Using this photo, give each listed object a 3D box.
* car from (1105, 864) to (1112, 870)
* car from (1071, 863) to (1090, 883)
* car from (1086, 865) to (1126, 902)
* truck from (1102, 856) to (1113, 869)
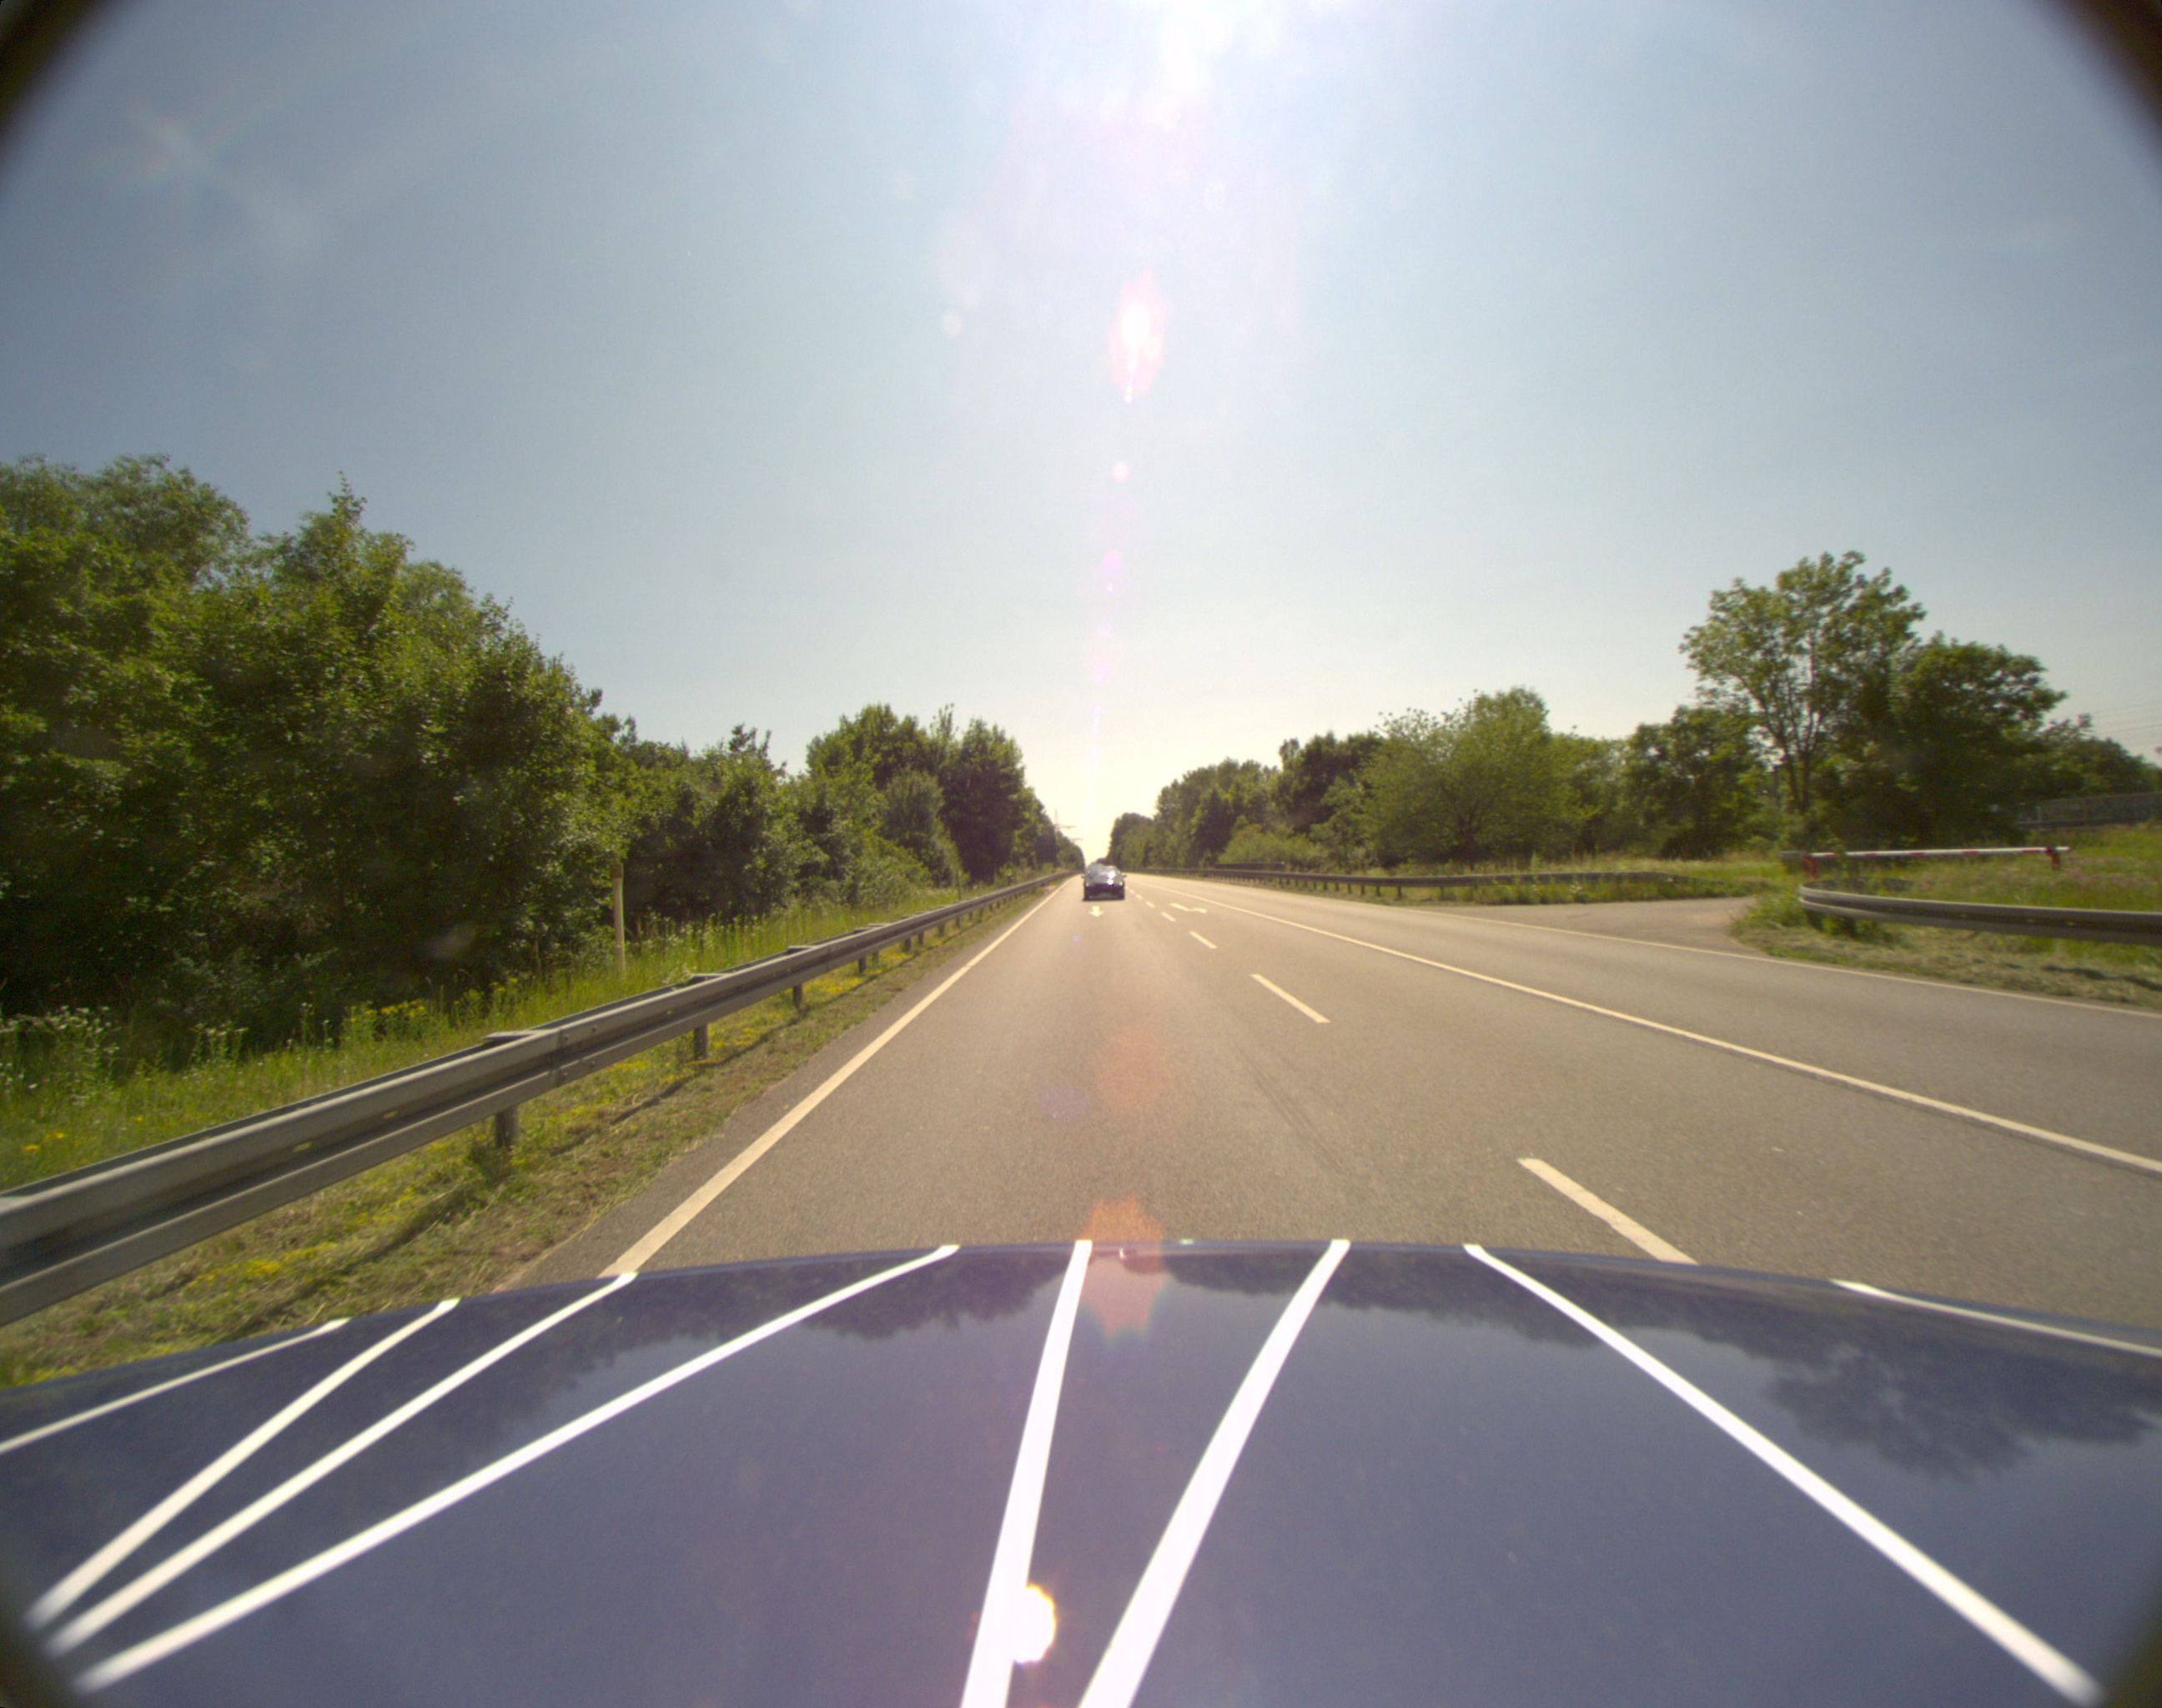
[{"bbox_3d":[7.551,3.498,208.468,1.823,1.537,4.527,-2,0,-1],"label":"car"},{"bbox_3d":[-0.059,1.456,59.207,1.443,1.443,3.298,-2,0,-1],"label":"car"},{"bbox_3d":[1.001,1.174,31.472,1.529,1.387,3.443,-1,0,1],"label":"car"},{"bbox_3d":[8.016,2.496,230.746,3.200,3.678,9.007,-2,-1,0],"label":"truck"}]
